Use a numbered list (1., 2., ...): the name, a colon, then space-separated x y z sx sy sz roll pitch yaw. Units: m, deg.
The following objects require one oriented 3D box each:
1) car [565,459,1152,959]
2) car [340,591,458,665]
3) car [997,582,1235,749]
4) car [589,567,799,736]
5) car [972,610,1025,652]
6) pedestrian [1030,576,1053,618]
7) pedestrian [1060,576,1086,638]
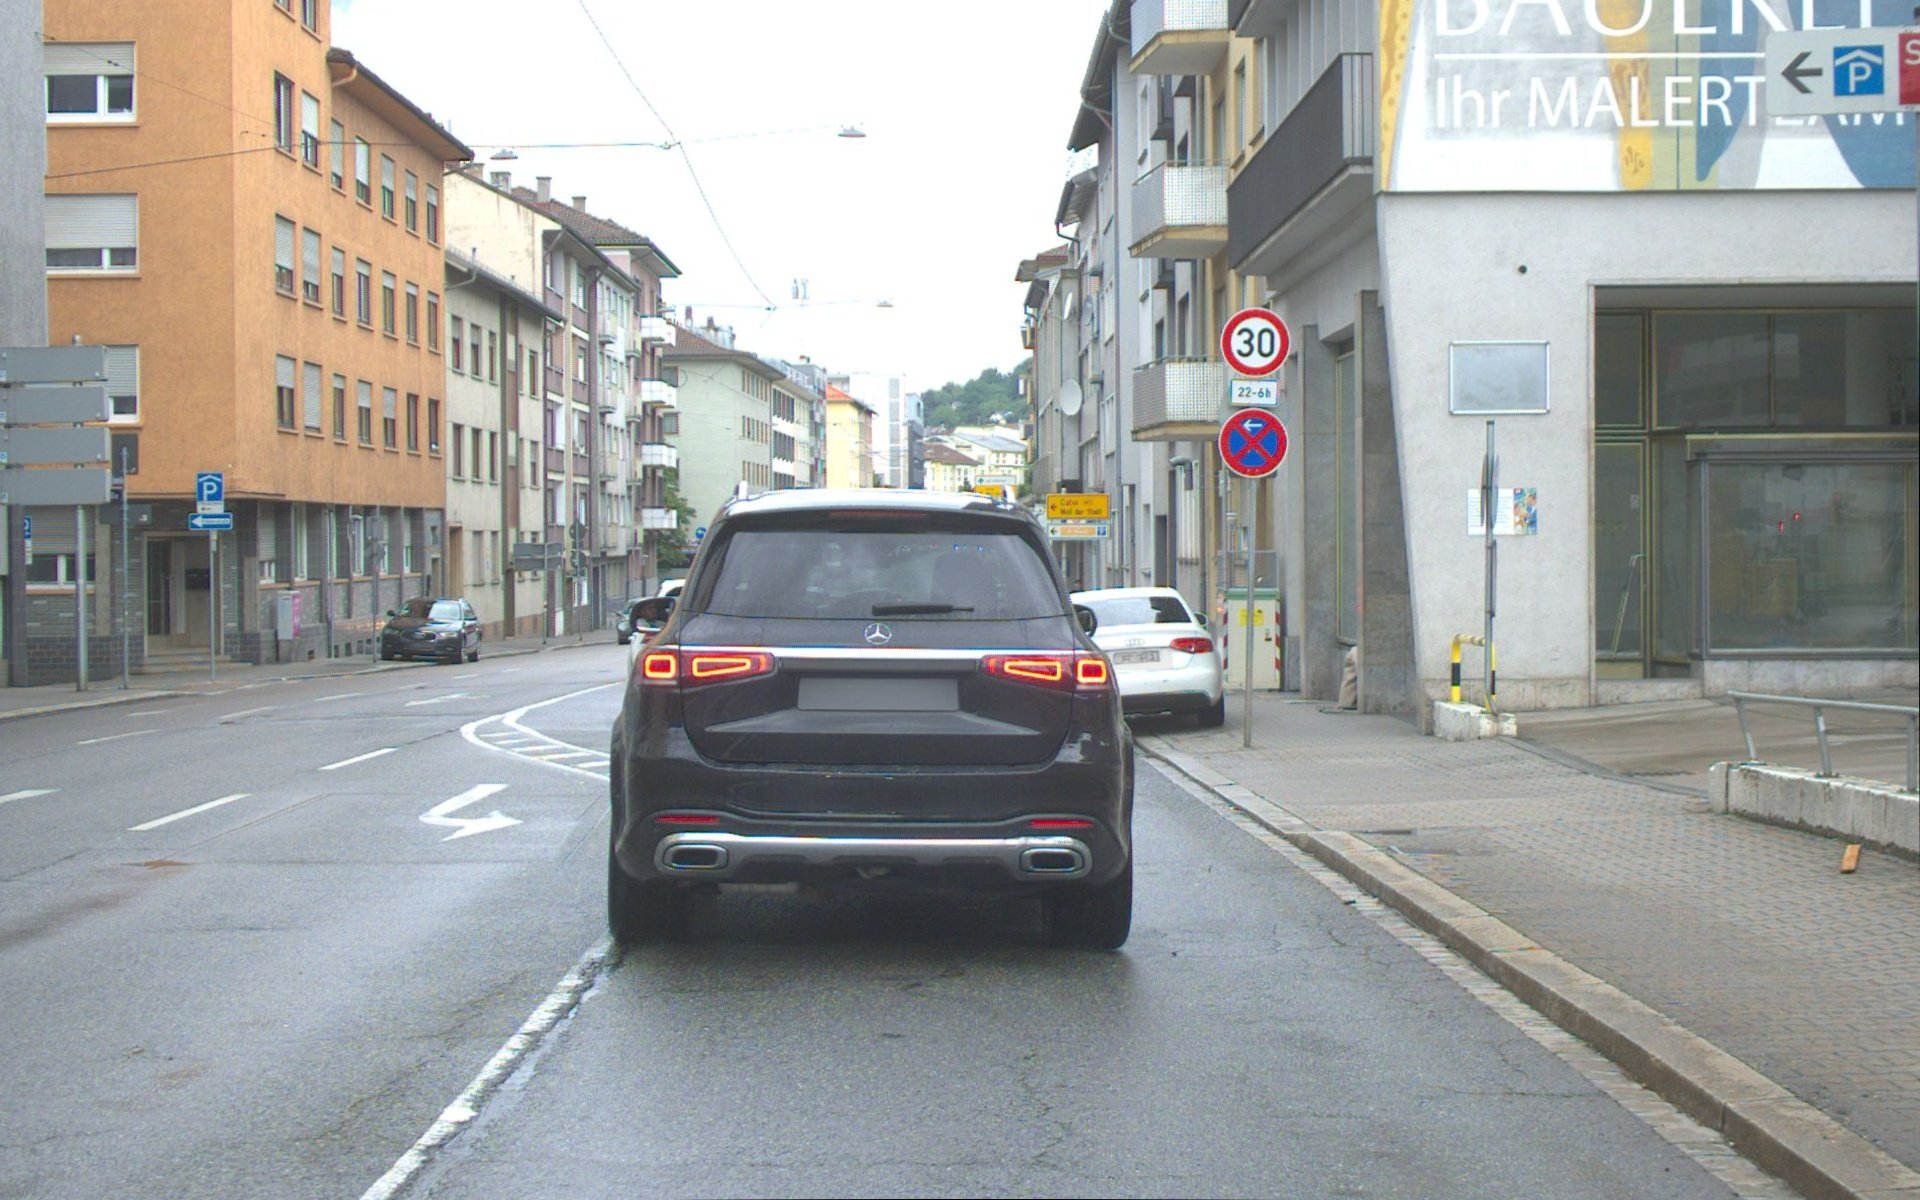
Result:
1. car: -0.387 0.366 14.713 2.076 1.759 4.611 1 1 -1
2. car: -12.009 0.580 73.836 1.891 1.453 4.550 1 0 -2
3. car: 1.508 0.610 34.946 1.893 1.398 4.609 -5 1 -3
4. car: -2.585 0.463 34.211 1.893 1.505 4.174 2 0 -3
5. car: 1.398 1.115 124.974 1.734 1.383 4.583 1 0 -1
6. pedestrian: 3.037 -0.121 128.415 0.821 1.560 0.899 1 0 3
7. pedestrian: 3.220 0.207 98.032 0.655 1.746 0.741 -2 0 5
